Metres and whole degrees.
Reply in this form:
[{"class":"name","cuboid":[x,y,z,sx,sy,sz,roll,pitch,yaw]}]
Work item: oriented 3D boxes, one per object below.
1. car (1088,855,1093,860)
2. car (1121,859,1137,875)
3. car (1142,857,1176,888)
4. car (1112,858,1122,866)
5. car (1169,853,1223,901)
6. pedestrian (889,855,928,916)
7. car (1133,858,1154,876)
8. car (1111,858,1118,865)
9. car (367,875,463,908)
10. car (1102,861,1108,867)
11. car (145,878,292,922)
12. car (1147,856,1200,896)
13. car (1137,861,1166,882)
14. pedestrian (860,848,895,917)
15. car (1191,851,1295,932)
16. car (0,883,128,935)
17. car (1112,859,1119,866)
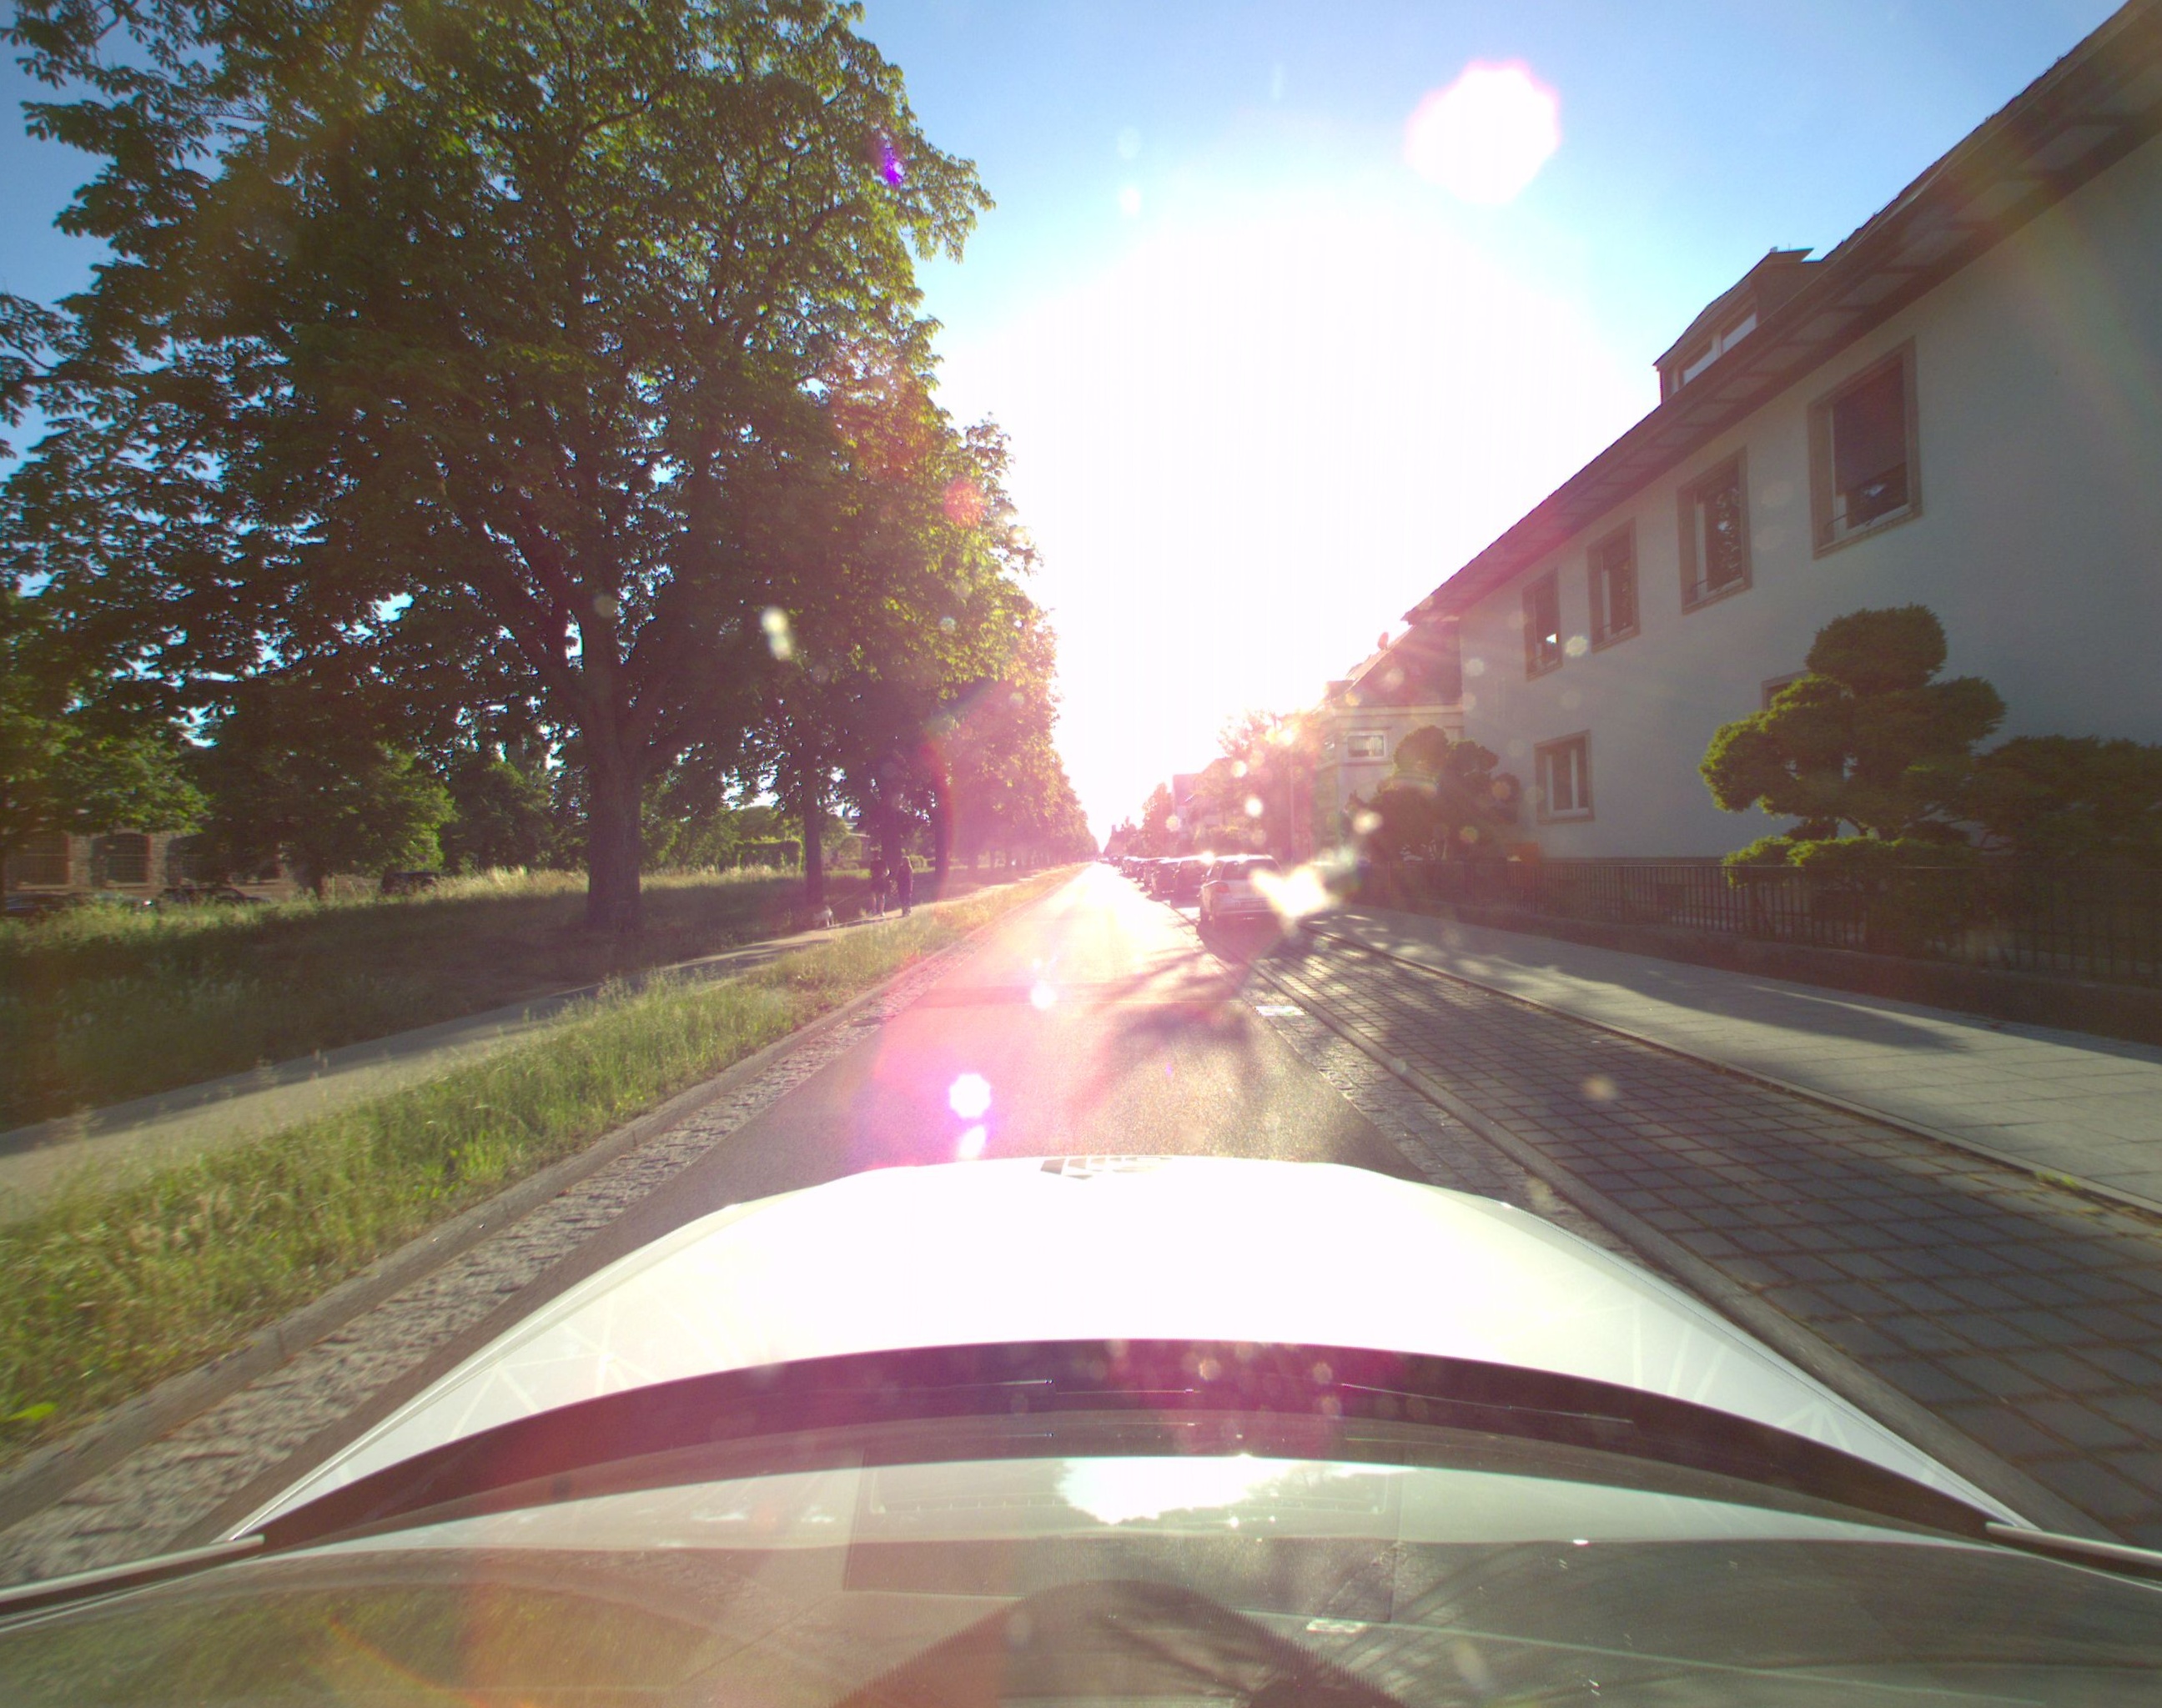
[{"class":"car","cuboid":[3.052,1.194,257.850,1.646,1.541,3.267,-1,-1,1]},{"class":"car","cuboid":[5.051,1.389,85.856,1.492,1.567,3.268,-2,-1,2]},{"class":"car","cuboid":[4.142,0.960,43.675,1.586,1.510,3.593,-2,-1,2]},{"class":"car","cuboid":[6.538,1.470,147.773,1.645,1.541,3.268,-1,-1,2]},{"class":"car","cuboid":[4.027,0.788,28.953,1.650,1.494,3.721,-3,-1,5]},{"class":"pedestrian","cuboid":[-4.763,0.850,22.547,0.779,1.614,0.953,-2,0,5]},{"class":"car","cuboid":[5.138,1.064,67.215,1.645,1.396,3.268,-2,-1,2]},{"class":"car","cuboid":[7.809,1.762,192.012,1.645,1.541,3.268,-1,-1,2]},{"class":"car","cuboid":[-36.125,1.989,44.351,1.687,1.597,4.221,-2,0,1]},{"class":"car","cuboid":[6.678,2.782,227.797,1.646,1.541,3.267,-1,-1,1]},{"class":"car","cuboid":[-36.307,1.895,34.467,1.687,1.597,4.221,-2,0,1]},{"class":"car","cuboid":[3.829,0.902,34.352,1.731,1.449,4.196,-3,-1,0]},{"class":"car","cuboid":[4.610,1.116,53.598,1.686,1.248,3.499,-2,-1,2]},{"class":"pedestrian","cuboid":[-5.550,0.760,22.204,0.621,1.831,0.887,-2,0,5]},{"class":"car","cuboid":[3.455,0.737,17.935,1.621,1.504,3.635,-4,0,2]},{"class":"car","cuboid":[-36.245,1.883,28.087,1.687,1.597,4.221,-2,0,1]},{"class":"car","cuboid":[7.957,2.025,186.619,1.645,1.541,3.268,-1,-1,2]}]
